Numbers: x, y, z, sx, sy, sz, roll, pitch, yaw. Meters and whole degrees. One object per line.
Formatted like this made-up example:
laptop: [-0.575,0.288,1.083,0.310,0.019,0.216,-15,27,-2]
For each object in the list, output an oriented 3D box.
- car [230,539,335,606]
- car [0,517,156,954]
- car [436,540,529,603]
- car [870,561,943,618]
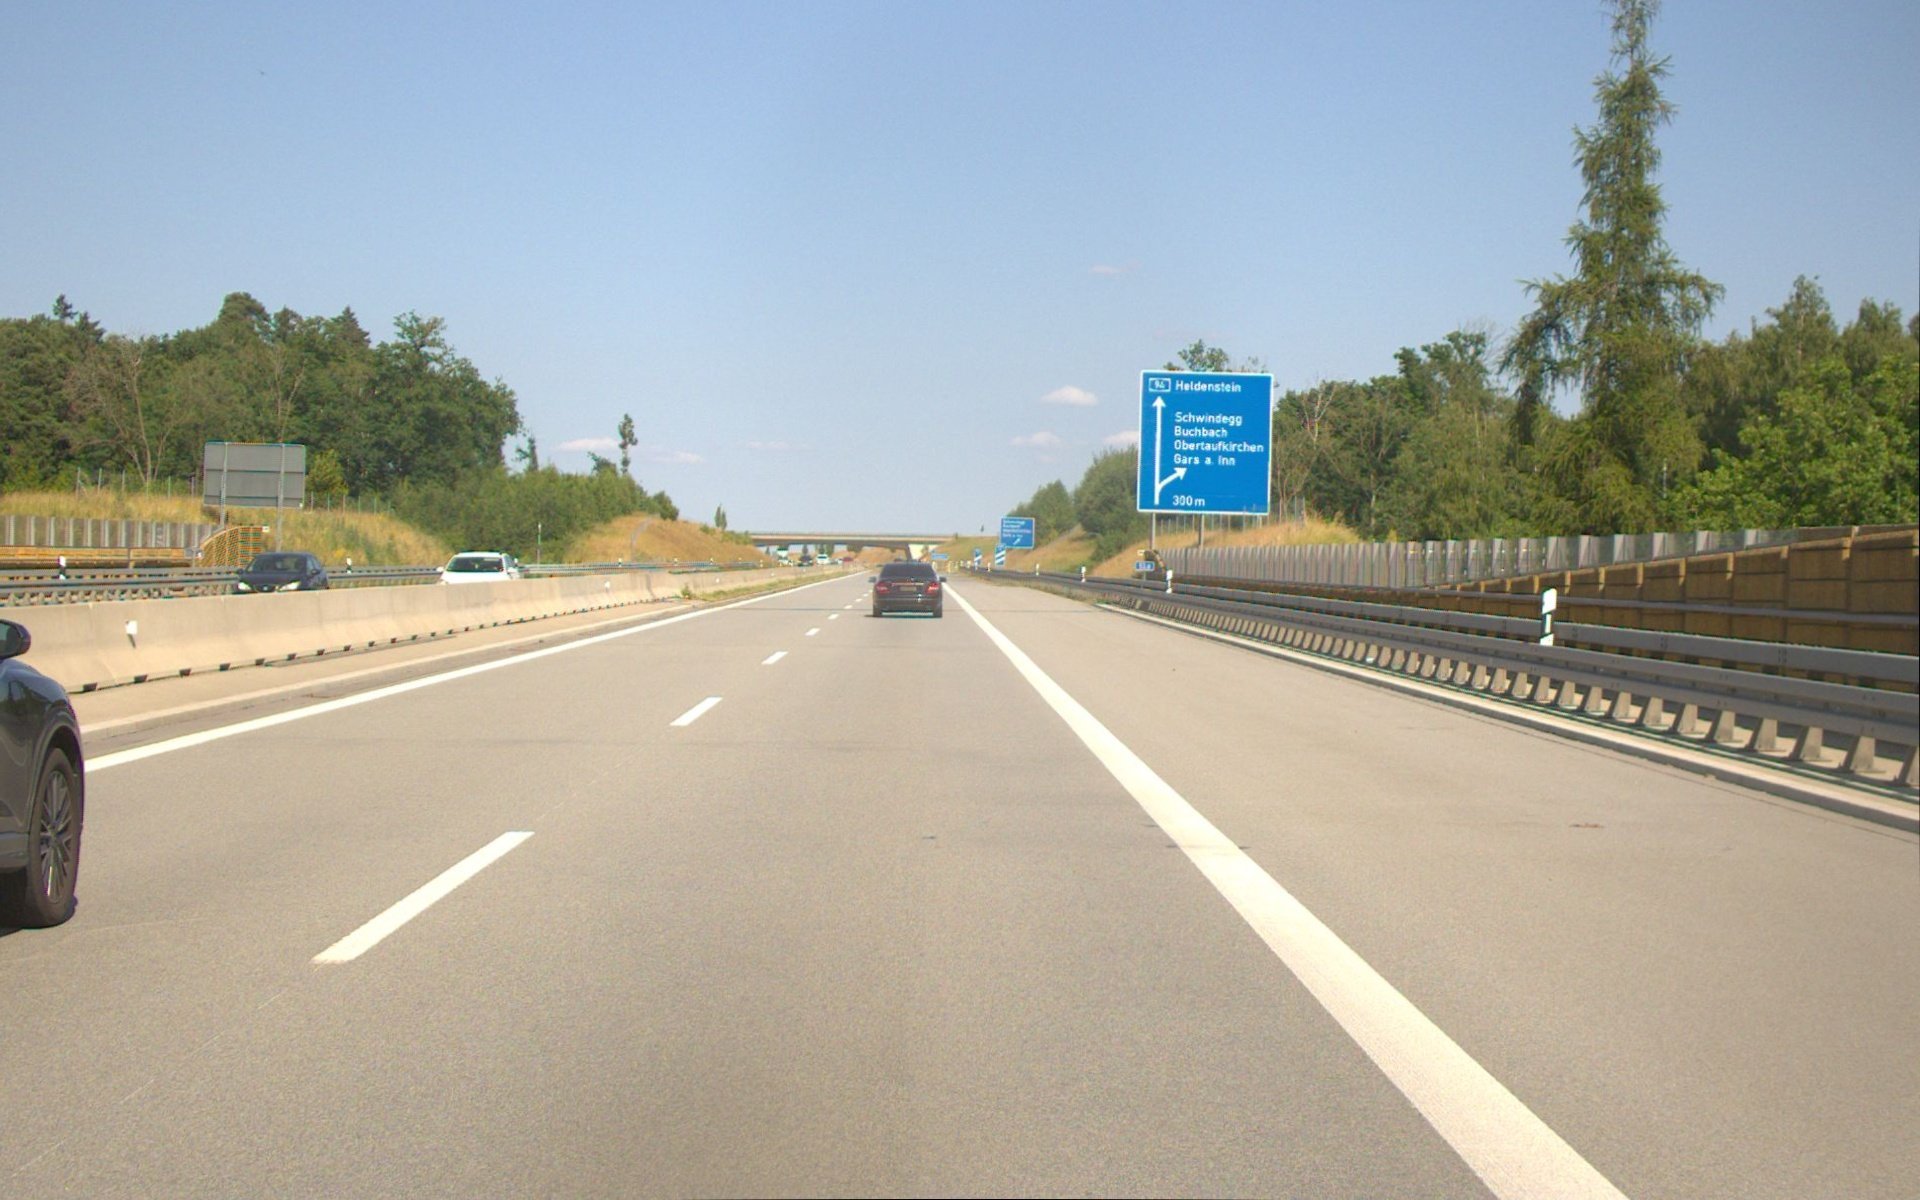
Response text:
car: [-15.363,-0.635,78.114,1.579,1.453,4.450,1,1,-1]
car: [-4.328,0.484,12.247,1.722,1.582,5.222,1,1,0]
car: [-11.893,-0.729,85.839,1.727,1.497,4.625,1,1,-1]
car: [-1.343,-0.281,87.320,1.790,1.369,3.917,1,1,0]
